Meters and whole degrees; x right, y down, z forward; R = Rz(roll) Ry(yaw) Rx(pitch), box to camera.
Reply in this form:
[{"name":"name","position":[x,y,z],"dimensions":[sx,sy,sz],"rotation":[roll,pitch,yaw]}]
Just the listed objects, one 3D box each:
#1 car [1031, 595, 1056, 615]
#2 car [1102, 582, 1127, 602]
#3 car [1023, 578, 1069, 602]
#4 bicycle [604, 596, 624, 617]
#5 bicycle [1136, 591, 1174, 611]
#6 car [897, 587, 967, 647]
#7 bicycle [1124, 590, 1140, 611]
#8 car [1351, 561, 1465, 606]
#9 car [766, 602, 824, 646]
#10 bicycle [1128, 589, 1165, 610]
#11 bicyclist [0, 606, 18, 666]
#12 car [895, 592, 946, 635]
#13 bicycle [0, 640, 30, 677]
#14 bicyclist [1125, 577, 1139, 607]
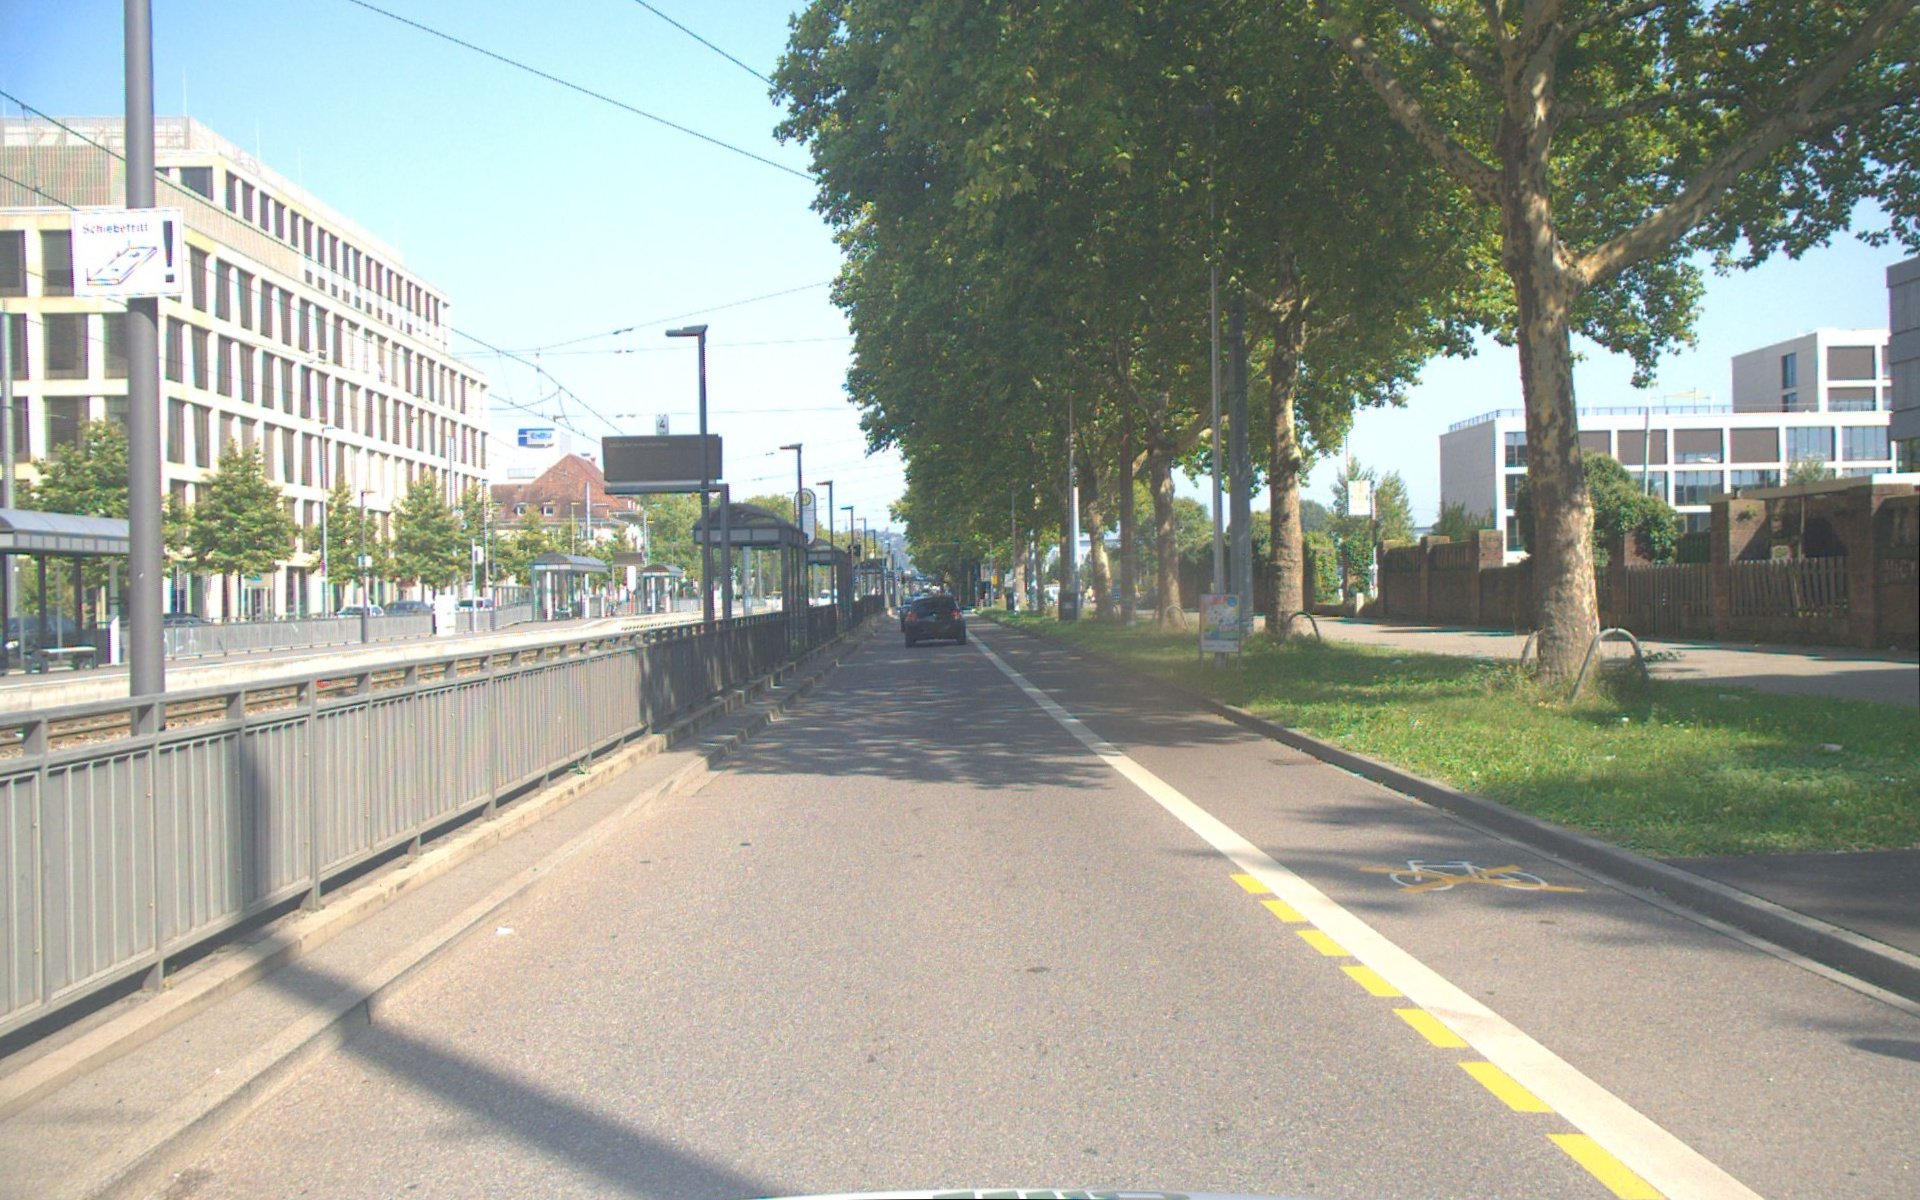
[{"name":"car","position":[6.865,0.392,135.824],"dimensions":[1.693,1.474,4.550],"rotation":[-3,0,-1]},{"name":"car","position":[12.781,-0.668,137.168],"dimensions":[1.575,1.603,3.795],"rotation":[-3,0,-1]},{"name":"car","position":[7.720,-0.884,149.124],"dimensions":[4.019,1.952,1.848],"rotation":[-3,0,2]},{"name":"bicycle","position":[-19.067,0.363,91.257],"dimensions":[0.461,1.167,1.485],"rotation":[-1,0,13]},{"name":"bicycle","position":[11.400,0.053,96.784],"dimensions":[2.130,1.095,0.743],"rotation":[-2,0,-3]},{"name":"car","position":[-0.844,0.479,48.267],"dimensions":[1.869,1.564,3.998],"rotation":[-3,0,-2]},{"name":"bicycle","position":[8.643,0.017,83.166],"dimensions":[0.537,1.024,1.713],"rotation":[-2,0,-1]},{"name":"car","position":[19.631,-0.704,72.592],"dimensions":[4.432,1.764,1.908],"rotation":[-2,0,-3]},{"name":"car","position":[-6.772,0.991,68.272],"dimensions":[1.954,1.586,3.999],"rotation":[-5,-1,-1]},{"name":"bicycle","position":[11.238,-0.042,99.807],"dimensions":[2.128,1.095,0.743],"rotation":[-4,0,2]},{"name":"bicyclist","position":[-23.199,0.877,39.728],"dimensions":[0.616,1.426,0.784],"rotation":[-4,-1,-2]},{"name":"car","position":[-1.659,0.559,68.571],"dimensions":[1.934,1.563,3.998],"rotation":[-5,0,-2]},{"name":"bicycle","position":[-23.157,1.418,39.694],"dimensions":[0.616,0.836,1.896],"rotation":[-4,-1,-2]},{"name":"bicyclist","position":[8.640,-0.386,83.084],"dimensions":[0.537,1.478,0.842],"rotation":[-1,0,-1]}]
